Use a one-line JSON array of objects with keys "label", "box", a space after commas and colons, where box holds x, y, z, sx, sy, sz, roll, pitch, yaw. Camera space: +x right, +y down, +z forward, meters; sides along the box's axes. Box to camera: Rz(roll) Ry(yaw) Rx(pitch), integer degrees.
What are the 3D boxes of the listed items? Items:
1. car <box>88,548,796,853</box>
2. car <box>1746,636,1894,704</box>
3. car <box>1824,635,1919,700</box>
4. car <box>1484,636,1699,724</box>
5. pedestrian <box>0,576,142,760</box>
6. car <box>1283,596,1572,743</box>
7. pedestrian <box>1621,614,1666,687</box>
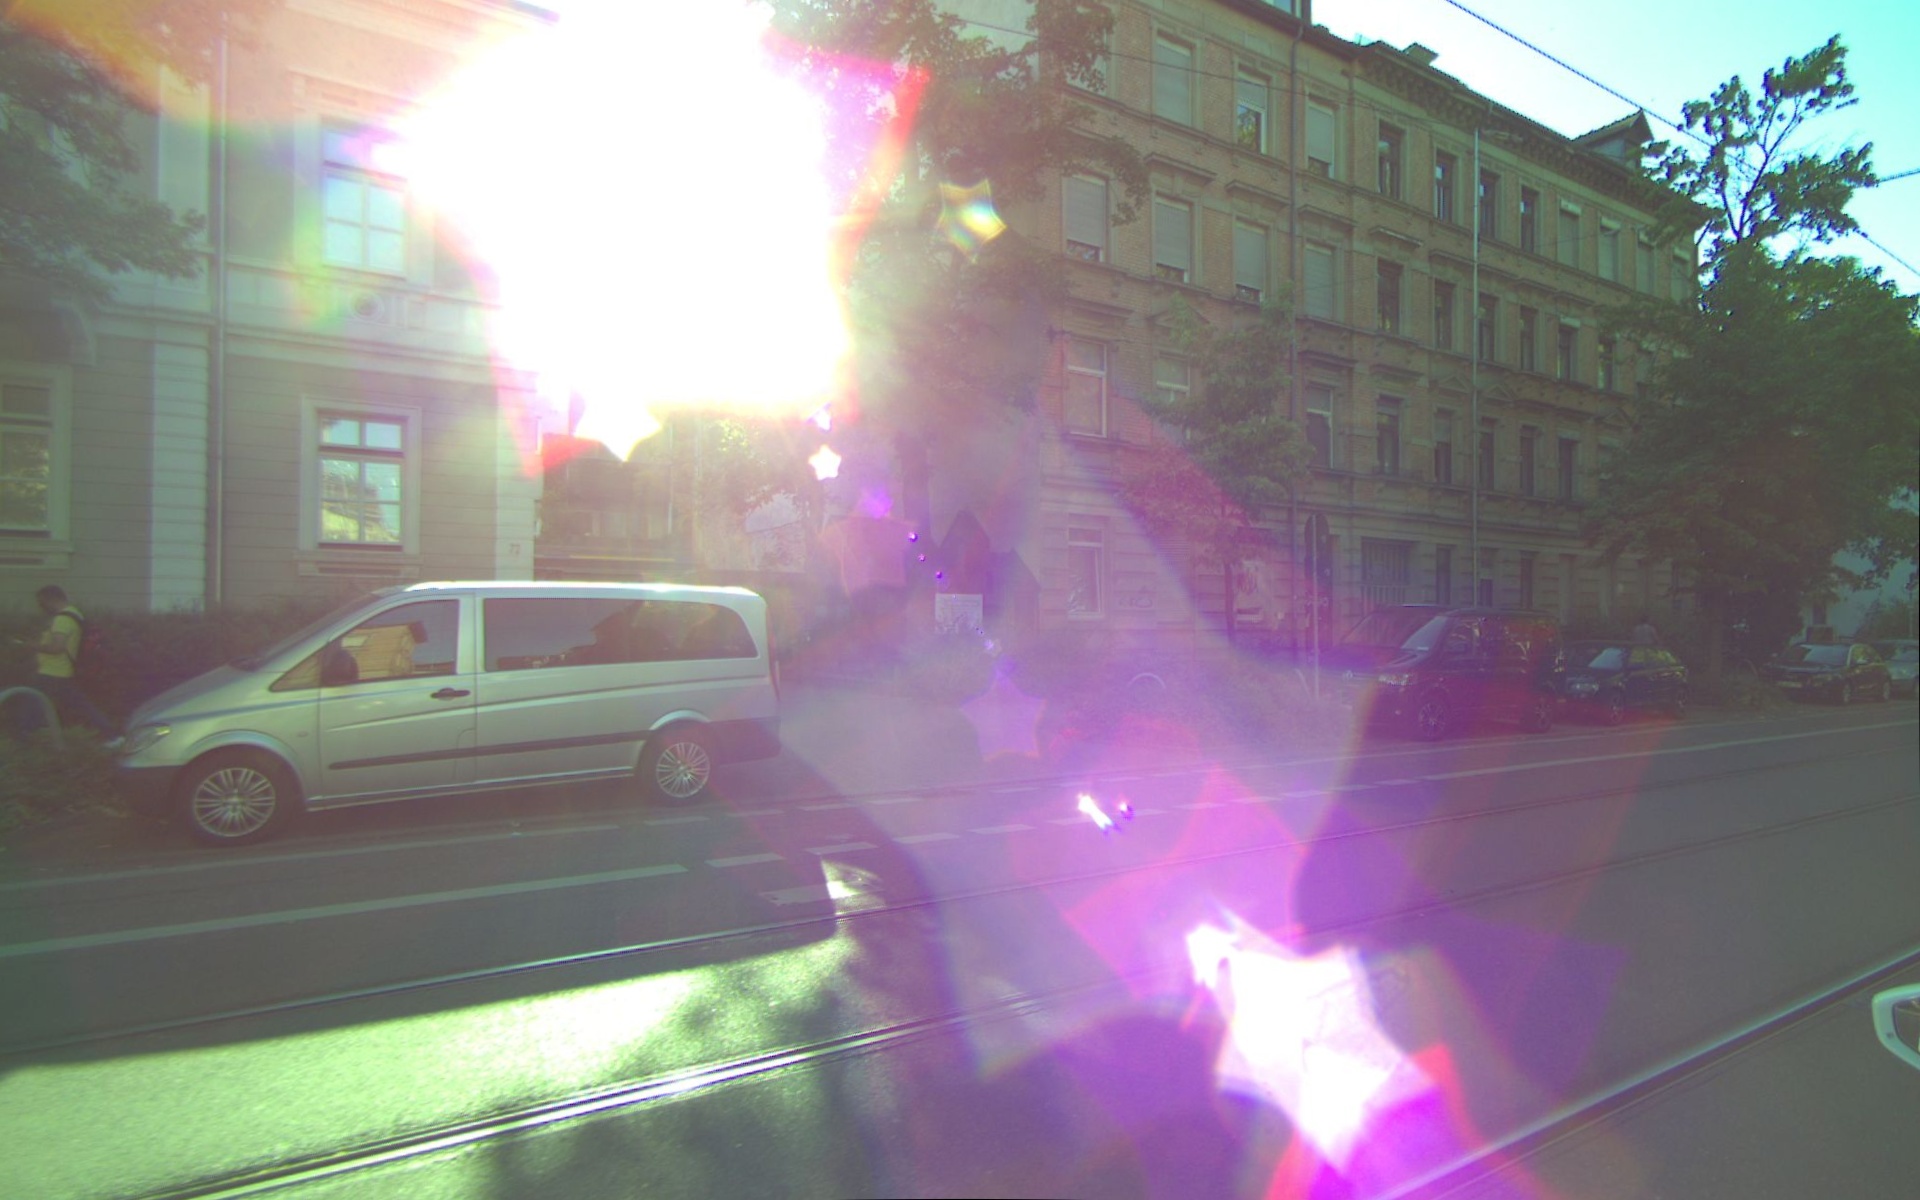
[{"label": "car", "box": [-4.079, 0.727, 8.699, 4.930, 2.015, 1.835, 1, -2, -31]}, {"label": "car", "box": [20.711, 1.619, 24.158, 3.905, 1.464, 1.649, 1, -1, -32]}, {"label": "car", "box": [25.318, 1.761, 27.023, 4.480, 1.571, 1.692, 1, -1, -29]}, {"label": "car", "box": [11.969, 1.434, 18.968, 4.224, 1.478, 1.843, 1, -2, -33]}, {"label": "pedestrian", "box": [-8.586, 0.633, 9.711, 0.936, 1.684, 0.602, 1, 0, -30]}, {"label": "car", "box": [7.564, 1.035, 16.108, 4.782, 2.040, 1.982, 1, -2, -33]}, {"label": "pedestrian", "box": [18.059, 1.326, 26.536, 0.721, 1.872, 0.737, 1, 0, -33]}]
